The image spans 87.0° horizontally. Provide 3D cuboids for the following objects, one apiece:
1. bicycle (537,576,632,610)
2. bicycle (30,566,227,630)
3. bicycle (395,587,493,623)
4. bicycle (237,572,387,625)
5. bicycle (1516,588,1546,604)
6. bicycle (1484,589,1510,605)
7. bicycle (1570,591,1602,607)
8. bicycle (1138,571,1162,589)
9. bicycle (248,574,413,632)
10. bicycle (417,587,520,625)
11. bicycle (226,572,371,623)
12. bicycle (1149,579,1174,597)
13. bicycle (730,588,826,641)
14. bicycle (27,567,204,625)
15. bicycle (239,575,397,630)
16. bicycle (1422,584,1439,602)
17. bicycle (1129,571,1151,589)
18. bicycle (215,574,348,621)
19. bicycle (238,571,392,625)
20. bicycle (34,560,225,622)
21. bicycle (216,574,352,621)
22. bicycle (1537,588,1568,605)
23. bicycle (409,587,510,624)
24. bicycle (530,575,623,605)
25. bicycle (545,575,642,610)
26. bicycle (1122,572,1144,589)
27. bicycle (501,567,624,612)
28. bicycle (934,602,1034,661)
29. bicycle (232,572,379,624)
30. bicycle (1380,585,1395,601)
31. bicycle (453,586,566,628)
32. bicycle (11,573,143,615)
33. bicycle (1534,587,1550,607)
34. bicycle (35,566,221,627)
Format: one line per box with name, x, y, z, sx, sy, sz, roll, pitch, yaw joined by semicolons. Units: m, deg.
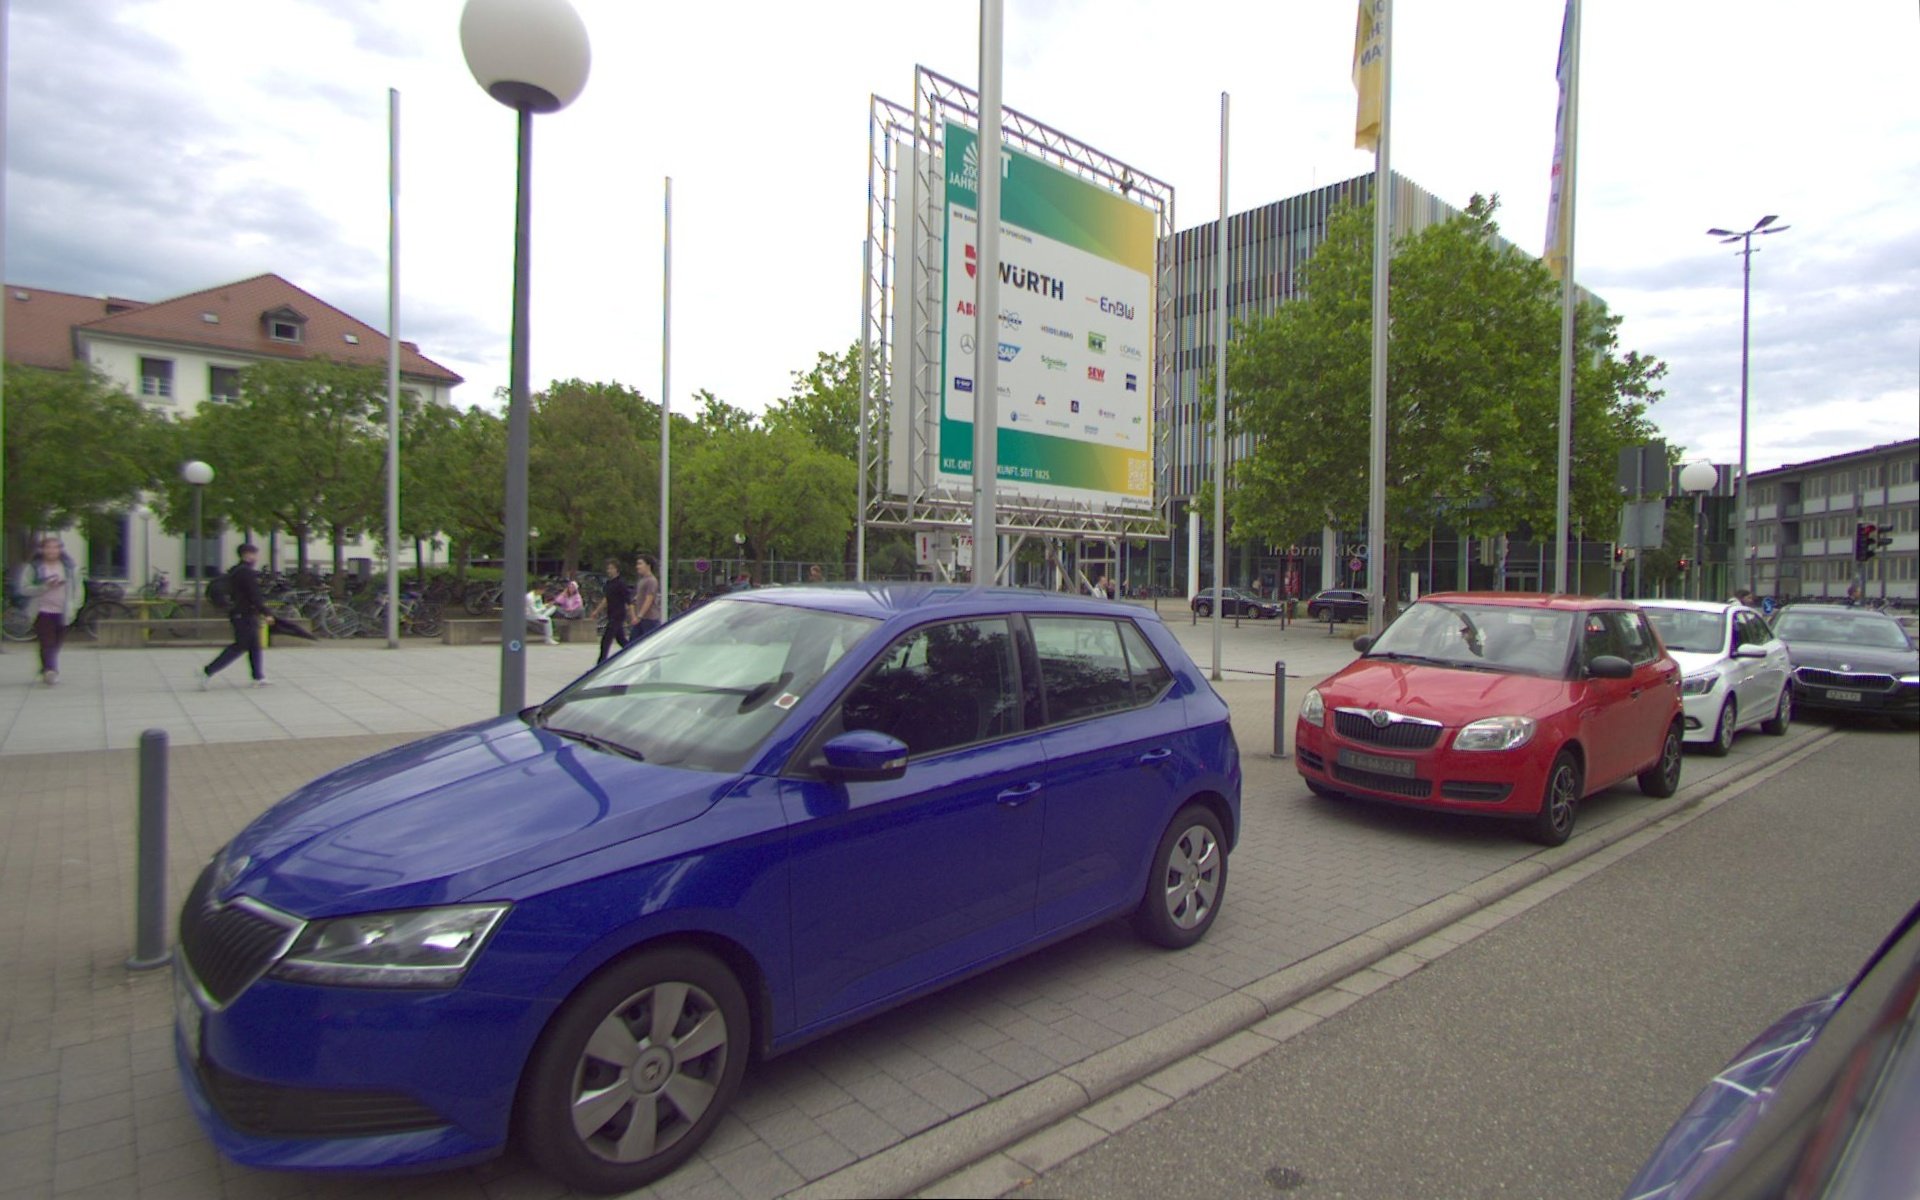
bicycle;-14.791;-0.273;39.909;3.329;1.185;1.055;3;-2;-36
bicycle;-17.058;-0.010;20.891;3.052;1.185;0.747;3;-2;-40
bicycle;-18.690;0.191;36.748;3.052;1.185;0.747;3;-2;-40
bicycle;-16.101;-0.022;25.238;3.052;1.185;0.747;3;-2;-40
bicycle;35.613;-0.270;63.173;0.474;0.947;2.014;0;2;-10
bicycle;33.834;-0.201;63.800;0.474;0.947;2.011;1;1;-2
bicycle;39.082;-0.059;63.230;0.474;0.947;2.014;0;2;-10
bicycle;15.043;-1.572;80.131;2.065;1.275;0.628;3;-2;-37
bicycle;-14.114;0.093;22.779;3.052;1.185;0.621;3;-2;-40
bicycle;-16.702;0.209;34.464;3.052;1.185;0.747;3;-2;-40
bicycle;-17.183;-0.034;26.353;3.052;1.185;0.747;3;-2;-40
bicycle;15.777;-0.941;79.219;2.065;1.275;0.628;3;-2;-37
bicycle;-4.262;0.355;23.910;0.456;1.185;2.375;0;-2;44
bicycle;-19.426;-0.069;23.382;3.052;1.185;0.747;3;-2;-40
bicycle;-15.089;0.084;23.866;3.052;1.185;0.747;3;-2;-40
bicycle;30.171;-0.462;64.848;0.476;1.058;1.912;1;2;9
bicycle;14.355;-1.581;80.797;2.068;1.275;0.627;3;-2;-43
bicycle;-19.287;-0.052;28.829;3.052;1.185;0.747;3;-2;-41
bicycle;-15.626;-0.019;24.616;3.052;1.185;0.747;3;-2;-40
bicycle;-17.549;-0.160;21.509;3.052;1.185;0.747;3;-2;-40
bicycle;-18.803;-0.049;28.219;3.052;1.185;0.747;3;-2;-41
bicycle;36.933;-0.228;63.083;0.474;0.947;2.014;0;2;-10
bicycle;-17.471;0.202;35.378;3.052;1.185;0.747;3;-2;-40
bicycle;-15.438;-0.425;40.808;3.330;1.184;1.055;-1;2;-36
bicycle;-14.052;-0.271;38.864;3.329;1.185;1.055;3;-2;-36
bicycle;13.882;-1.587;81.264;2.068;1.275;0.627;3;-2;-43
bicycle;-10.890;-0.290;27.839;3.052;1.184;0.747;0;1;-40
bicycle;0.463;0.613;19.790;1.763;1.107;0.878;1;0;-15
bicycle;-16.631;-0.028;25.795;3.051;1.185;0.747;3;-2;-40
bicycle;29.009;-0.464;68.749;0.476;1.058;1.911;1;1;9
bicycle;-13.868;0.235;31.242;3.052;1.185;0.747;3;-2;-40
bicycle;-27.658;-0.165;31.789;3.052;1.185;0.747;3;-2;-40
bicycle;32.492;-0.170;56.502;0.478;1.058;1.772;1;2;20
bicycle;-18.066;-0.051;22.100;3.052;1.185;0.747;3;-2;-40
